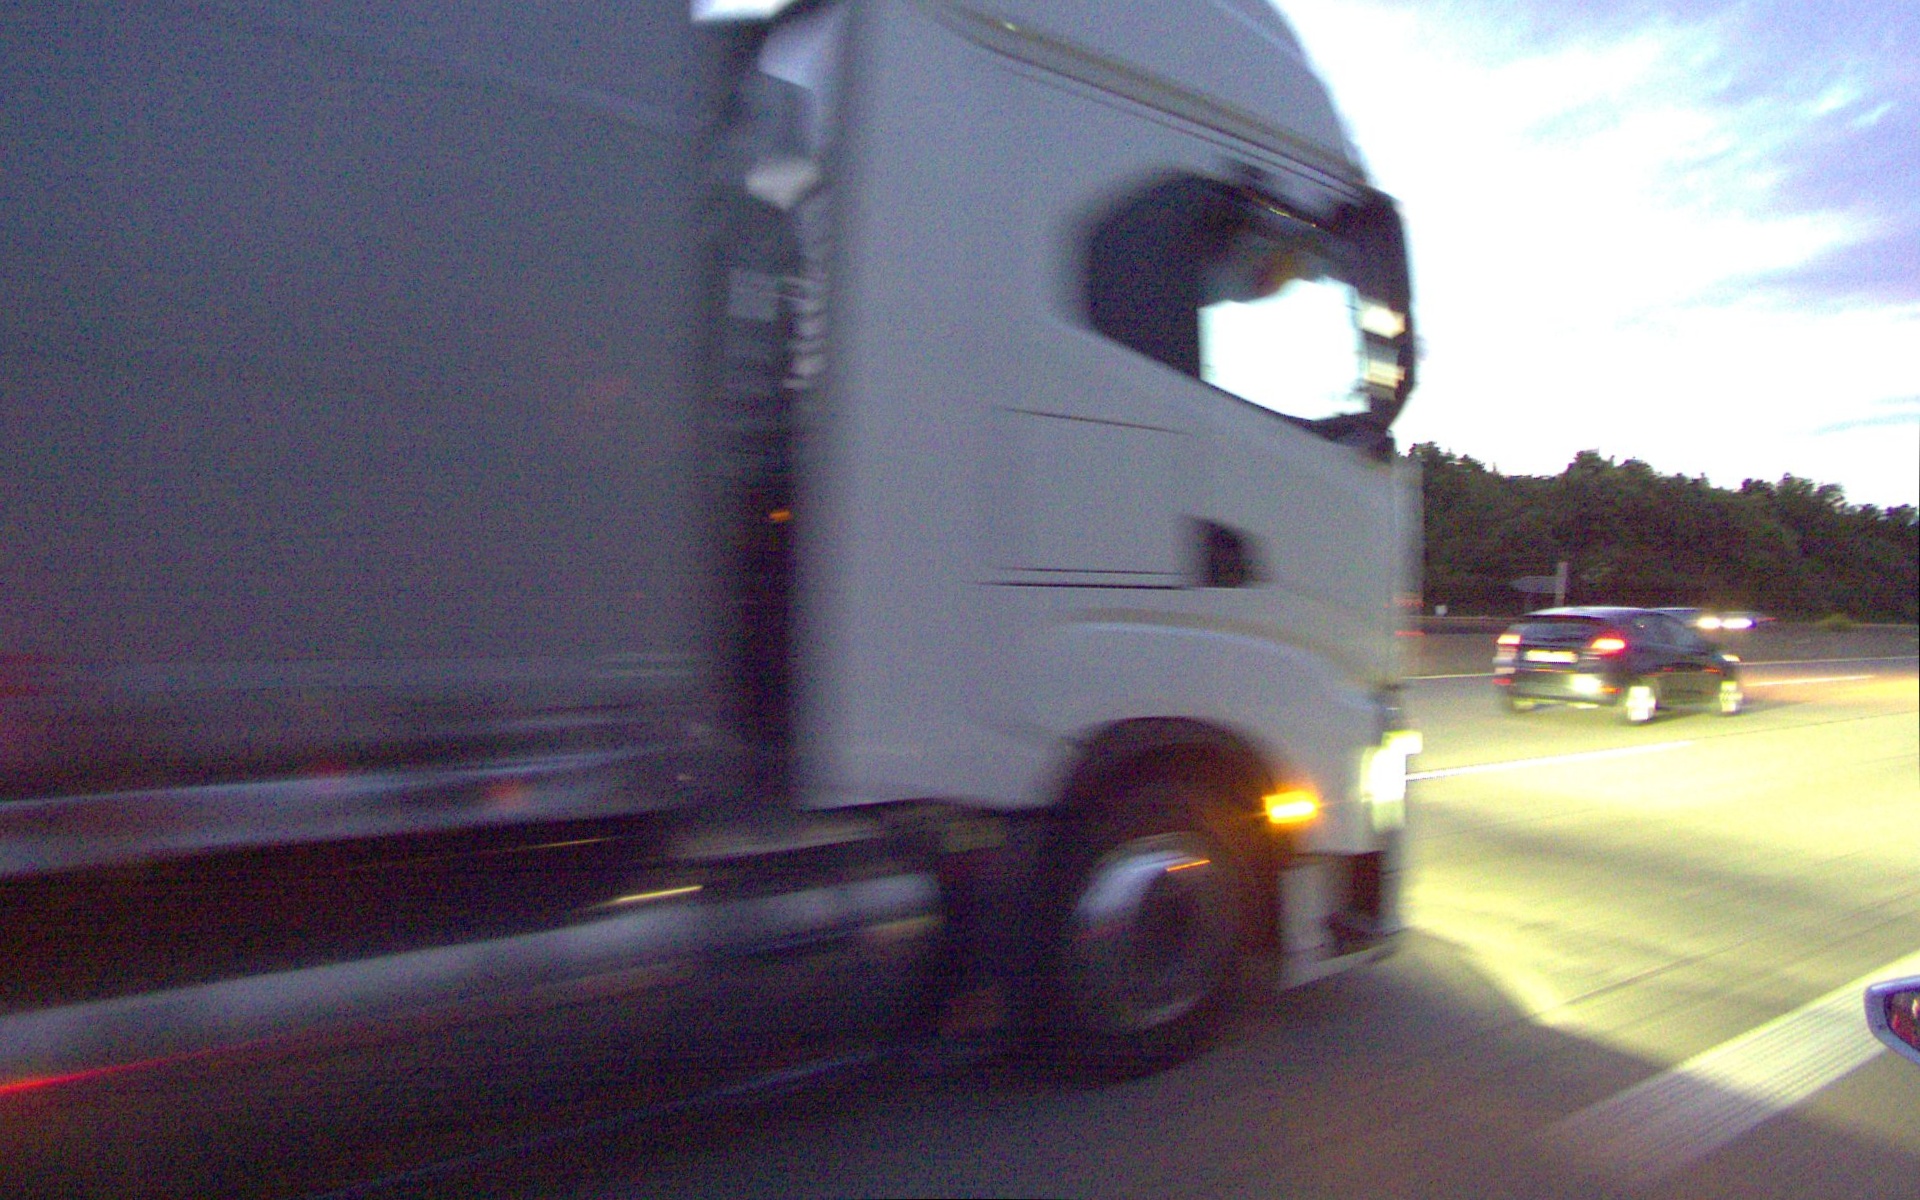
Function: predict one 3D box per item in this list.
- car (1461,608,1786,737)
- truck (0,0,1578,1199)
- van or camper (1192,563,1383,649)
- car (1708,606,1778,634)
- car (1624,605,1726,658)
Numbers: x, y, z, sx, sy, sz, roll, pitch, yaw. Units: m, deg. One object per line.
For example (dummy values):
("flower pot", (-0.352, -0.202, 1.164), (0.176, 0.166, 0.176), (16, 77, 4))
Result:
("car", (9.217, 0.893, 13.887), (4.495, 1.518, 1.984), (1, 0, -30))
("truck", (-0.895, -0.522, 3.503), (6.085, 3.954, 2.764), (1, 0, -32))
("van or camper", (11.026, 0.239, 33.675), (6.416, 2.629, 2.503), (1, 0, -32))
("car", (46.835, 1.190, 60.083), (3.955, 1.570, 1.983), (1, 2, -32))
("car", (29.735, 1.278, 41.773), (3.954, 2.041, 1.983), (1, 1, -31))
